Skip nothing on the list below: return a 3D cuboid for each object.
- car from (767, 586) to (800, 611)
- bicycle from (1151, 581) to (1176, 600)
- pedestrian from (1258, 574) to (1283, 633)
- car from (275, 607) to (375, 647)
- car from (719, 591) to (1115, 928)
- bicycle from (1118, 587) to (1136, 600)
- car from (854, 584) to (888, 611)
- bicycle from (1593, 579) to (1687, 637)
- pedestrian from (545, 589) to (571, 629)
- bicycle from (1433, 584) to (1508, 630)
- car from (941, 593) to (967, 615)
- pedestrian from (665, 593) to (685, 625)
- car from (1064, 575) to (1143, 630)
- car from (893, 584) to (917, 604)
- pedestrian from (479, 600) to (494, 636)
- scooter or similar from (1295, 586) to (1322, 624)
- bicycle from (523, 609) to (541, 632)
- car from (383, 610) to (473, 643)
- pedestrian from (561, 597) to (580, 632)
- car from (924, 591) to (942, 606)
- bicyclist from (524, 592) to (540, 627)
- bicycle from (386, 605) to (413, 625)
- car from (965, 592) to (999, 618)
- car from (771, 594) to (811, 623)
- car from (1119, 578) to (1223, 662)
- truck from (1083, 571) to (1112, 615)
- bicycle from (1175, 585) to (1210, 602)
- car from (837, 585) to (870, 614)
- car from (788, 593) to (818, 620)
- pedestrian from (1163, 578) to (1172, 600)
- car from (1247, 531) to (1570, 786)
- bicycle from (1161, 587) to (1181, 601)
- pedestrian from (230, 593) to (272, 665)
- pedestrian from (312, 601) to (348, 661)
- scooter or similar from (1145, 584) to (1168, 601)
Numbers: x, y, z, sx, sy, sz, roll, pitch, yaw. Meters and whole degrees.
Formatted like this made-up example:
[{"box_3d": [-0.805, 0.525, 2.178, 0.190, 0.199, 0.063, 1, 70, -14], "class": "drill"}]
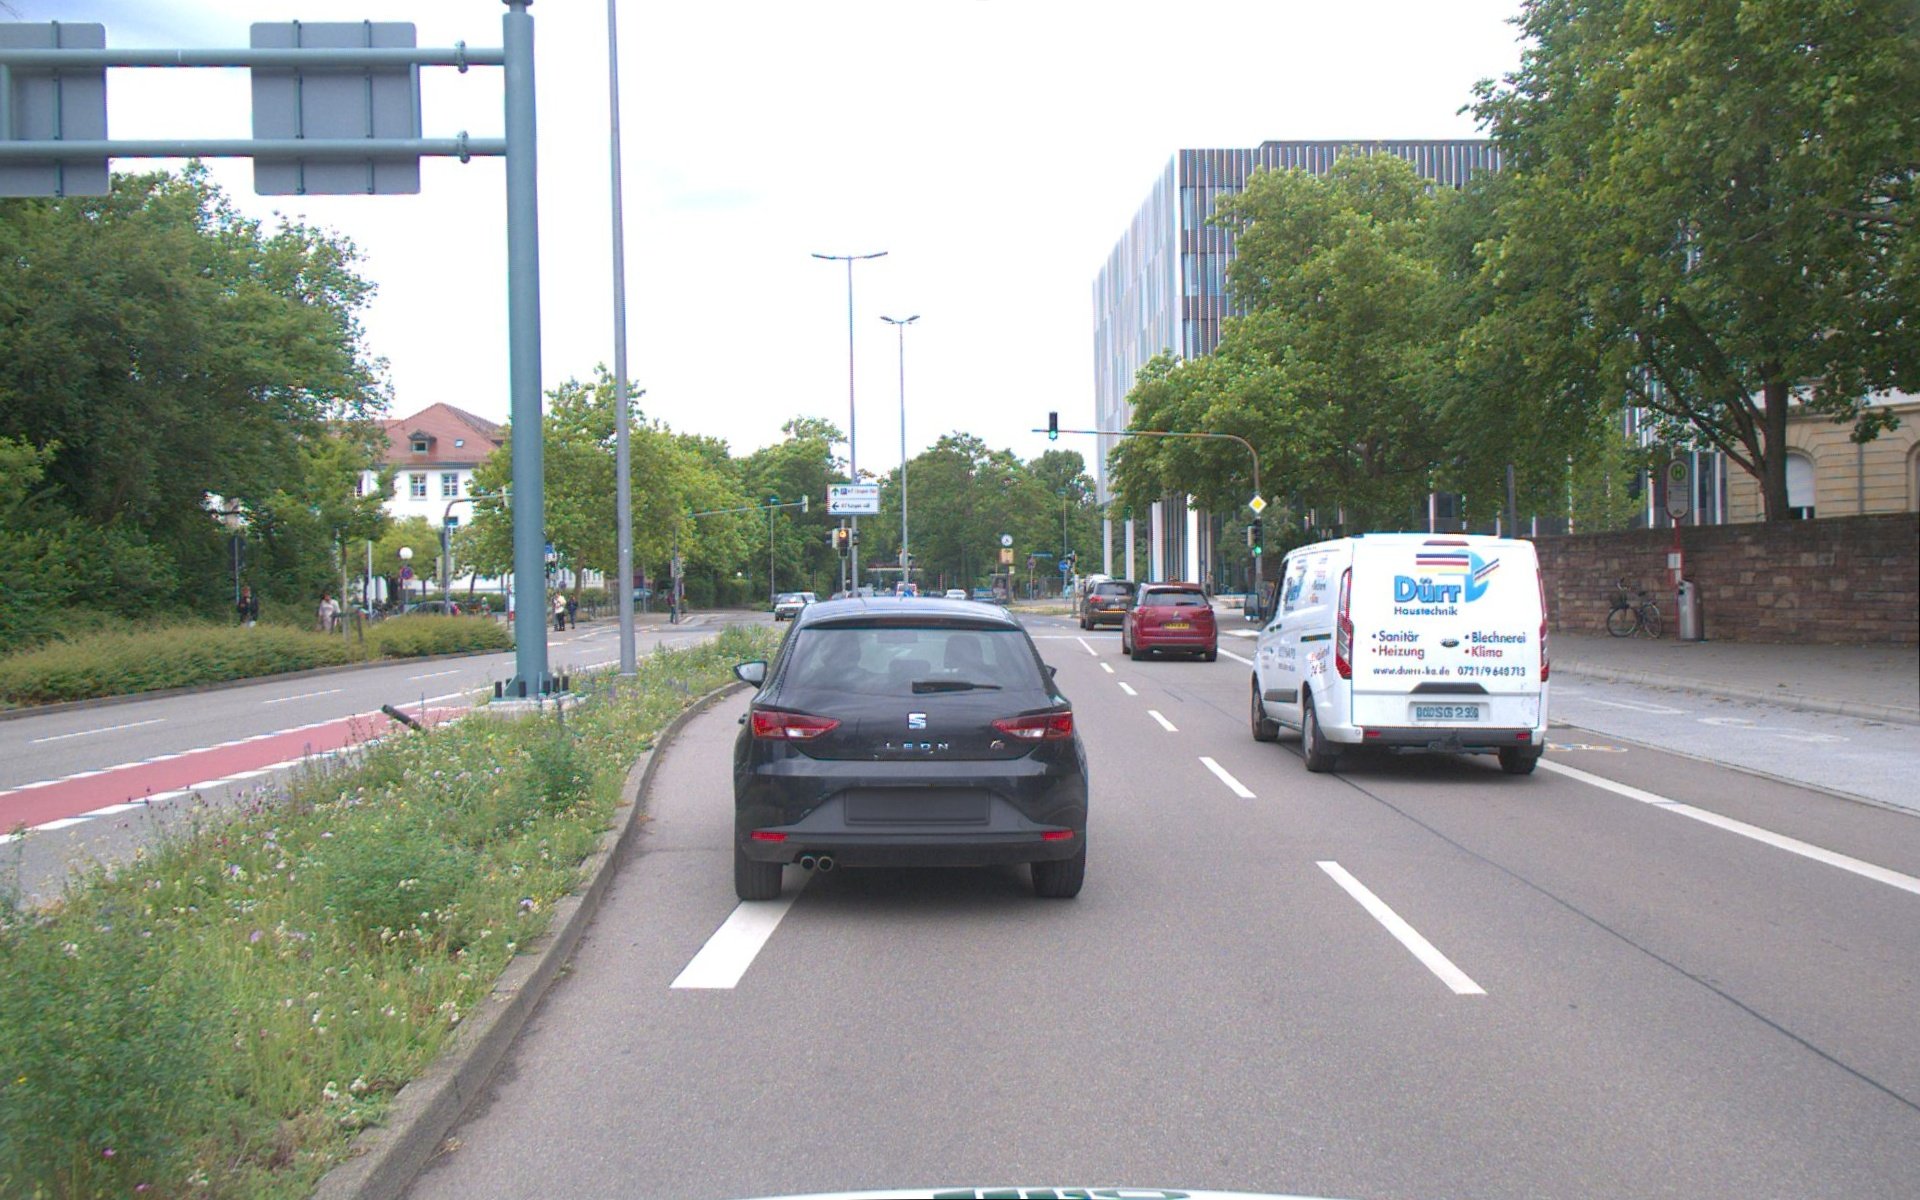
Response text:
[{"box_3d": [-13.471, -0.147, 126.357, 1.867, 1.746, 4.001, -3, 1, 1], "class": "car"}, {"box_3d": [14.319, -0.690, 116.543, 1.756, 1.232, 0.563, -3, 1, -33], "class": "bicycle"}, {"box_3d": [9.598, 0.113, 51.111, 0.452, 1.769, 0.549, -3, 1, -37], "class": "pedestrian"}, {"box_3d": [-28.457, 1.187, 74.256, 3.985, 1.477, 1.617, -2, 6, -16], "class": "car"}, {"box_3d": [-0.242, 0.686, 9.072, 1.718, 1.457, 3.767, 0, 0, -2], "class": "car"}, {"box_3d": [13.165, -0.542, 130.691, 1.357, 0.958, 0.488, -2, 1, 8], "class": "bicycle"}, {"box_3d": [-6.047, -0.152, 112.356, 1.881, 1.693, 4.400, -3, 0, 2], "class": "car"}, {"box_3d": [14.321, 0.160, 34.876, 0.834, 1.147, 1.917, -3, 1, -13], "class": "bicycle"}, {"box_3d": [-18.390, 0.406, 75.701, 0.834, 1.770, 0.820, 0, -5, -37], "class": "pedestrian"}, {"box_3d": [13.000, 0.181, 42.187, 0.924, 1.092, 1.963, -3, 1, -13], "class": "bicycle"}, {"box_3d": [-0.440, 0.282, 115.654, 1.583, 1.377, 3.999, -4, 1, -2], "class": "car"}, {"box_3d": [-14.704, 0.444, 85.364, 0.857, 1.613, 0.543, -3, 1, -5], "class": "pedestrian"}, {"box_3d": [4.812, 0.058, 55.879, 1.877, 1.693, 4.110, -3, 1, -5], "class": "car"}, {"box_3d": [-4.474, -0.481, 134.212, 1.663, 1.530, 4.005, -3, 1, -6], "class": "car"}, {"box_3d": [-21.574, 0.835, 75.373, 0.562, 1.553, 0.843, -1, -4, -22], "class": "pedestrian"}, {"box_3d": [11.634, 0.153, 55.208, 0.424, 1.199, 1.702, -3, 1, 26], "class": "scooter or similar"}, {"box_3d": [-19.984, 0.950, 77.260, 0.654, 1.081, 1.615, 0, -1, -10], "class": "bicycle"}, {"box_3d": [-24.123, 1.187, 75.125, 3.584, 1.244, 1.563, -1, 8, -5], "class": "car"}, {"box_3d": [-18.283, 0.664, 77.593, 0.777, 1.585, 0.695, -1, -3, -19], "class": "pedestrian"}, {"box_3d": [-2.398, -0.172, 147.233, 1.475, 1.214, 3.162, -3, 1, -2], "class": "car"}, {"box_3d": [-19.994, 0.446, 77.227, 0.654, 1.664, 0.959, 0, -1, -10], "class": "bicyclist"}, {"box_3d": [-32.045, 0.847, 94.613, 1.380, 1.070, 0.585, -3, 1, -19], "class": "bicycle"}, {"box_3d": [1.308, 0.281, 100.418, 1.861, 1.377, 3.881, -3, 1, -2], "class": "car"}, {"box_3d": [-9.091, 0.460, 89.107, 1.574, 1.405, 3.809, -3, 1, 2], "class": "car"}, {"box_3d": [4.439, 0.382, 35.306, 1.908, 1.652, 3.751, 0, 1, 3], "class": "car"}, {"box_3d": [7.476, -0.413, 90.177, 1.290, 2.282, 3.402, -3, 1, 1], "class": "truck"}, {"box_3d": [13.381, -0.375, 95.017, 1.858, 0.914, 0.693, -3, 1, -20], "class": "bicycle"}, {"box_3d": [-6.020, -0.021, 93.645, 1.729, 1.485, 4.788, -3, 0, -4], "class": "car"}, {"box_3d": [-9.272, 0.388, 97.659, 1.672, 1.456, 4.222, -3, 1, -6], "class": "car"}, {"box_3d": [13.502, -0.728, 107.485, 0.462, 1.385, 0.446, -3, 1, 12], "class": "pedestrian"}, {"box_3d": [3.928, 0.436, 15.281, 1.925, 2.006, 4.345, 0, 1, 2], "class": "car"}, {"box_3d": [14.645, -0.427, 114.844, 1.420, 0.872, 0.362, -3, 1, -26], "class": "bicycle"}, {"box_3d": [-17.929, 0.730, 41.818, 0.607, 1.759, 0.818, -3, 1, 1], "class": "pedestrian"}, {"box_3d": [-18.120, 0.889, 47.602, 0.685, 1.664, 0.671, -3, 1, 1], "class": "pedestrian"}, {"box_3d": [13.936, -0.562, 117.132, 1.654, 1.126, 0.493, -3, 1, -31], "class": "scooter or similar"}]
